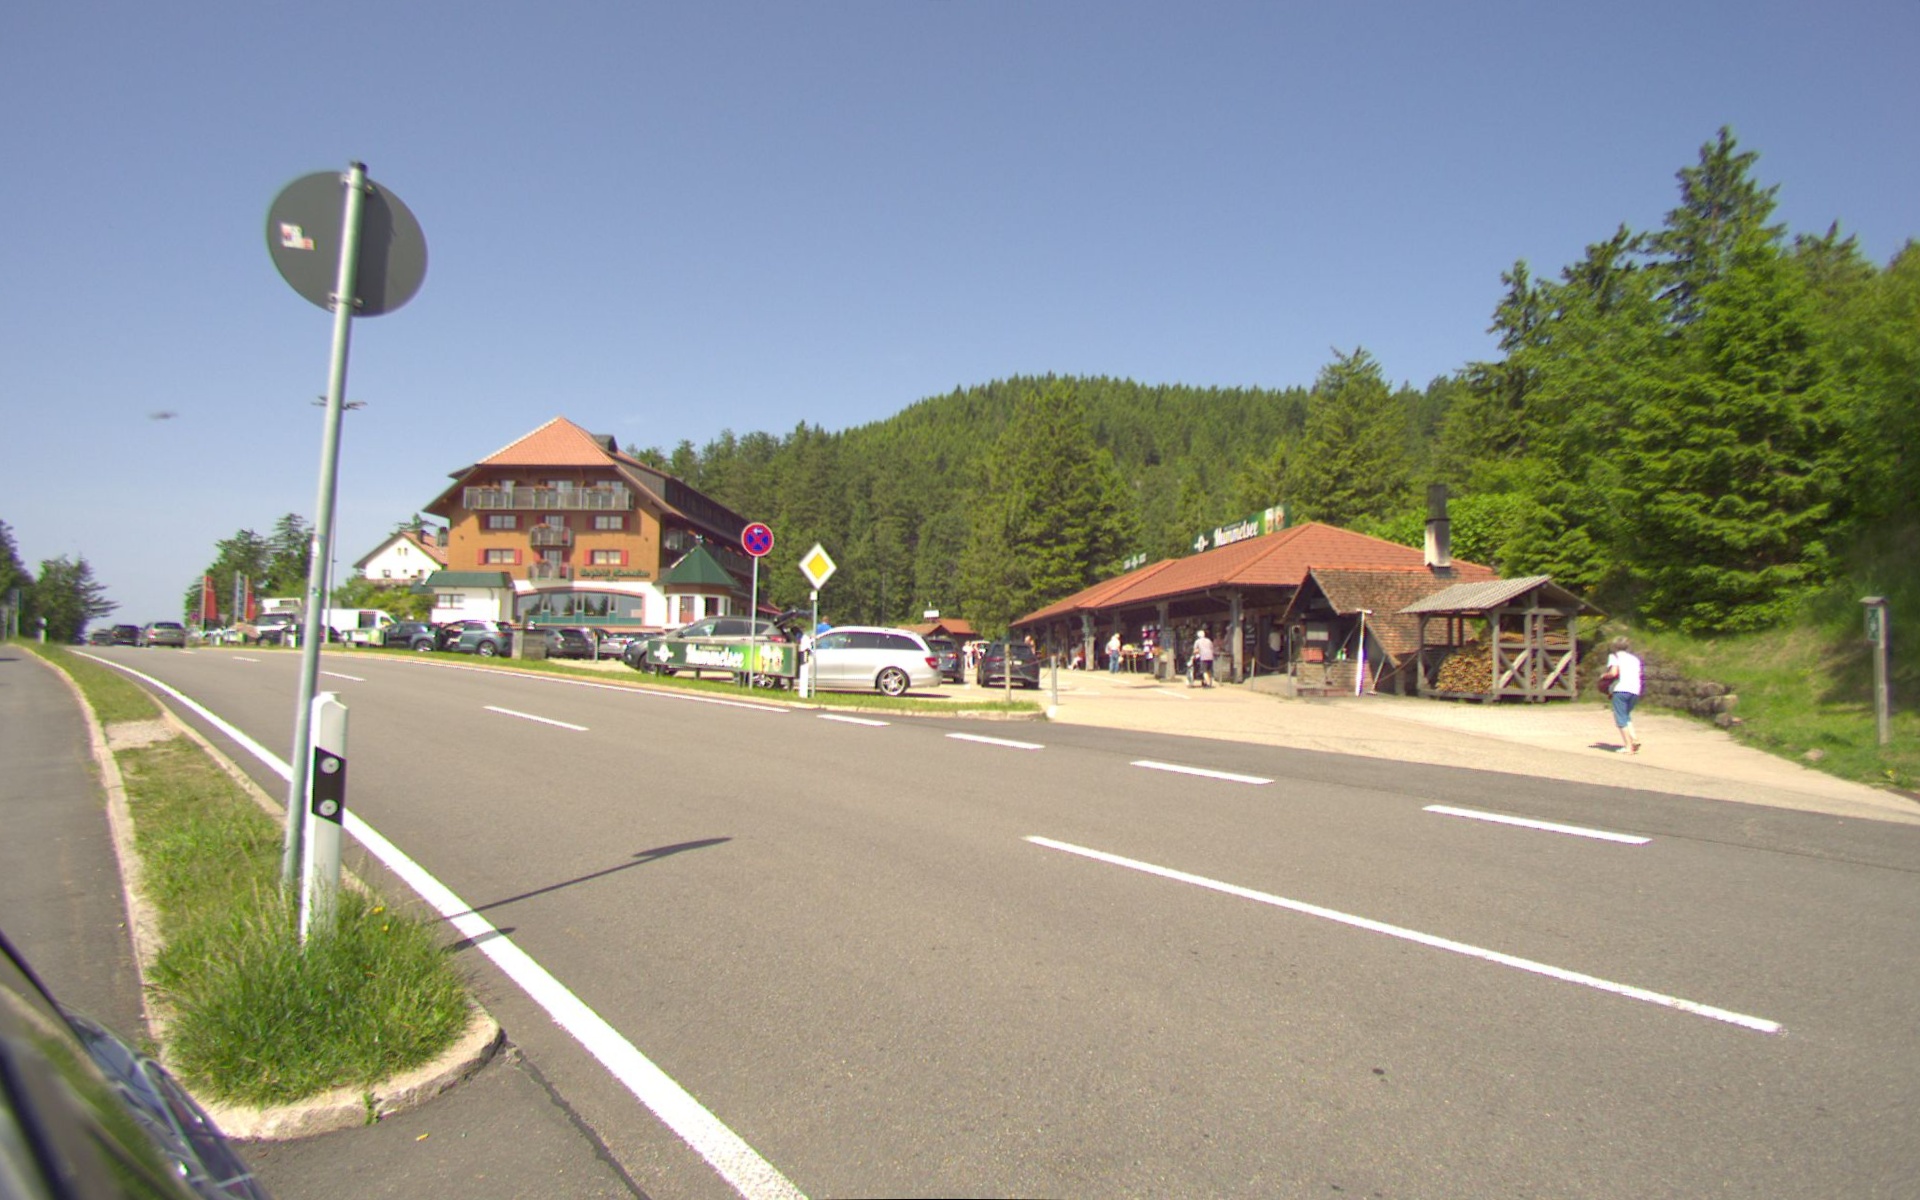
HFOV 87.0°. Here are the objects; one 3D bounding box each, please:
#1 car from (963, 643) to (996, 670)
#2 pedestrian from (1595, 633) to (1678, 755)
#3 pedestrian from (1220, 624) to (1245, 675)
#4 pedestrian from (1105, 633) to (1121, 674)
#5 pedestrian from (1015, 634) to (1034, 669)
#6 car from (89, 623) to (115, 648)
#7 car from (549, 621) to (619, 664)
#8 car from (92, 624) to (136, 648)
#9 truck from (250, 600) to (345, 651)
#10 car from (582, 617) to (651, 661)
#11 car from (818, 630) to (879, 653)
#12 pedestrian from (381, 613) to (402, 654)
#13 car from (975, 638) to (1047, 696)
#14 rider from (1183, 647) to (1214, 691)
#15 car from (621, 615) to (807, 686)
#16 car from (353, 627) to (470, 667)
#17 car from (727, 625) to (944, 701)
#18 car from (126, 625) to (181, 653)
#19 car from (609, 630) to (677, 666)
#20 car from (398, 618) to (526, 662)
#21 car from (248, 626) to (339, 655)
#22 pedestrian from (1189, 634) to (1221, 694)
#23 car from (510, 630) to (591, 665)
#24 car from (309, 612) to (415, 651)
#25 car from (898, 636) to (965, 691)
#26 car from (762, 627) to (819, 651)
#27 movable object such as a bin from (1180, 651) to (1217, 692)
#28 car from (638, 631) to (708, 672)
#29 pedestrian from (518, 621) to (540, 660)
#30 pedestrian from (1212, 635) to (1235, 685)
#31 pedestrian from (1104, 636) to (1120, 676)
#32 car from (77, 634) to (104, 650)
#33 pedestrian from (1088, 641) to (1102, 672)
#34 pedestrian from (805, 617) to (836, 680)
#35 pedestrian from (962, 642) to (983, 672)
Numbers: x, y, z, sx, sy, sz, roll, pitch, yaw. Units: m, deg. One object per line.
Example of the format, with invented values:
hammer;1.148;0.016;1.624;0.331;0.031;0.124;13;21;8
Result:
car;1.248;3.647;65.686;1.972;1.541;3.999;3;-2;1
pedestrian;9.776;1.340;14.645;0.711;1.694;0.682;1;-2;-1
pedestrian;9.510;1.730;35.323;0.740;1.750;0.801;1;-2;8
pedestrian;6.357;2.215;42.016;0.500;1.668;0.472;1;-2;-10
pedestrian;3.198;2.545;50.026;0.772;1.668;0.881;1;-2;-6
car;-97.053;3.974;114.468;1.987;2.772;5.924;3;-3;-42
car;-18.767;2.093;50.695;1.972;2.029;3.999;1;-2;0
car;-60.698;2.569;72.600;1.970;1.660;4.570;3;-3;-45
truck;-53.624;2.127;82.247;2.839;3.850;9.031;-1;-2;-8
car;-16.615;1.896;49.214;1.972;2.029;3.999;1;-2;0
car;-9.107;3.373;83.100;4.777;1.729;1.920;2;-2;-1
pedestrian;-28.921;1.701;51.462;0.803;2.029;0.707;-1;-2;44
car;1.506;2.036;31.415;1.972;1.541;3.999;3;-2;1
rider;7.236;2.083;30.779;0.830;1.284;0.907;1;-2;8
car;-6.368;1.326;26.613;4.484;1.668;1.723;2;-2;-3
car;-24.696;2.123;45.660;4.209;1.641;1.825;2;-2;-2
car;-2.613;1.343;21.842;4.436;1.441;1.723;2;-2;-3
car;-44.601;2.127;55.949;1.857;1.485;4.717;1;-1;-45
car;-14.512;2.207;46.549;1.799;1.524;4.094;2;-2;0
car;-19.991;1.614;40.760;4.209;1.641;1.825;2;-2;-2
car;-38.996;2.357;59.277;4.032;1.539;1.826;2;-2;-6
pedestrian;7.224;1.874;29.858;0.830;1.712;0.801;1;-2;8
car;-18.420;2.120;45.450;3.998;1.441;1.698;0;-3;41
car;-46.472;2.469;78.934;6.845;2.812;2.675;2;-2;-26
car;-0.870;2.004;32.933;1.972;1.541;3.999;3;-2;1
car;-12.802;2.959;76.622;4.036;1.729;1.920;2;-2;-1
movable object such as a bin;7.270;2.167;30.897;0.972;1.198;1.213;1;-2;8
car;-12.407;2.214;44.014;1.799;1.641;4.094;2;-2;0
pedestrian;-18.366;1.726;43.123;0.734;1.637;0.685;2;-2;-15
pedestrian;9.391;2.143;36.069;0.555;1.750;0.663;-1;-3;43
pedestrian;6.386;2.341;42.576;0.500;1.668;0.472;1;-2;-10
car;-84.509;4.119;98.385;1.686;1.449;4.453;3;-3;-44
pedestrian;6.422;2.680;48.125;0.537;1.442;0.473;1;-2;-3
pedestrian;-3.705;1.280;26.875;0.735;1.648;0.848;1;-2;-5
pedestrian;0.701;3.274;57.930;0.917;1.668;0.882;2;-2;-25
